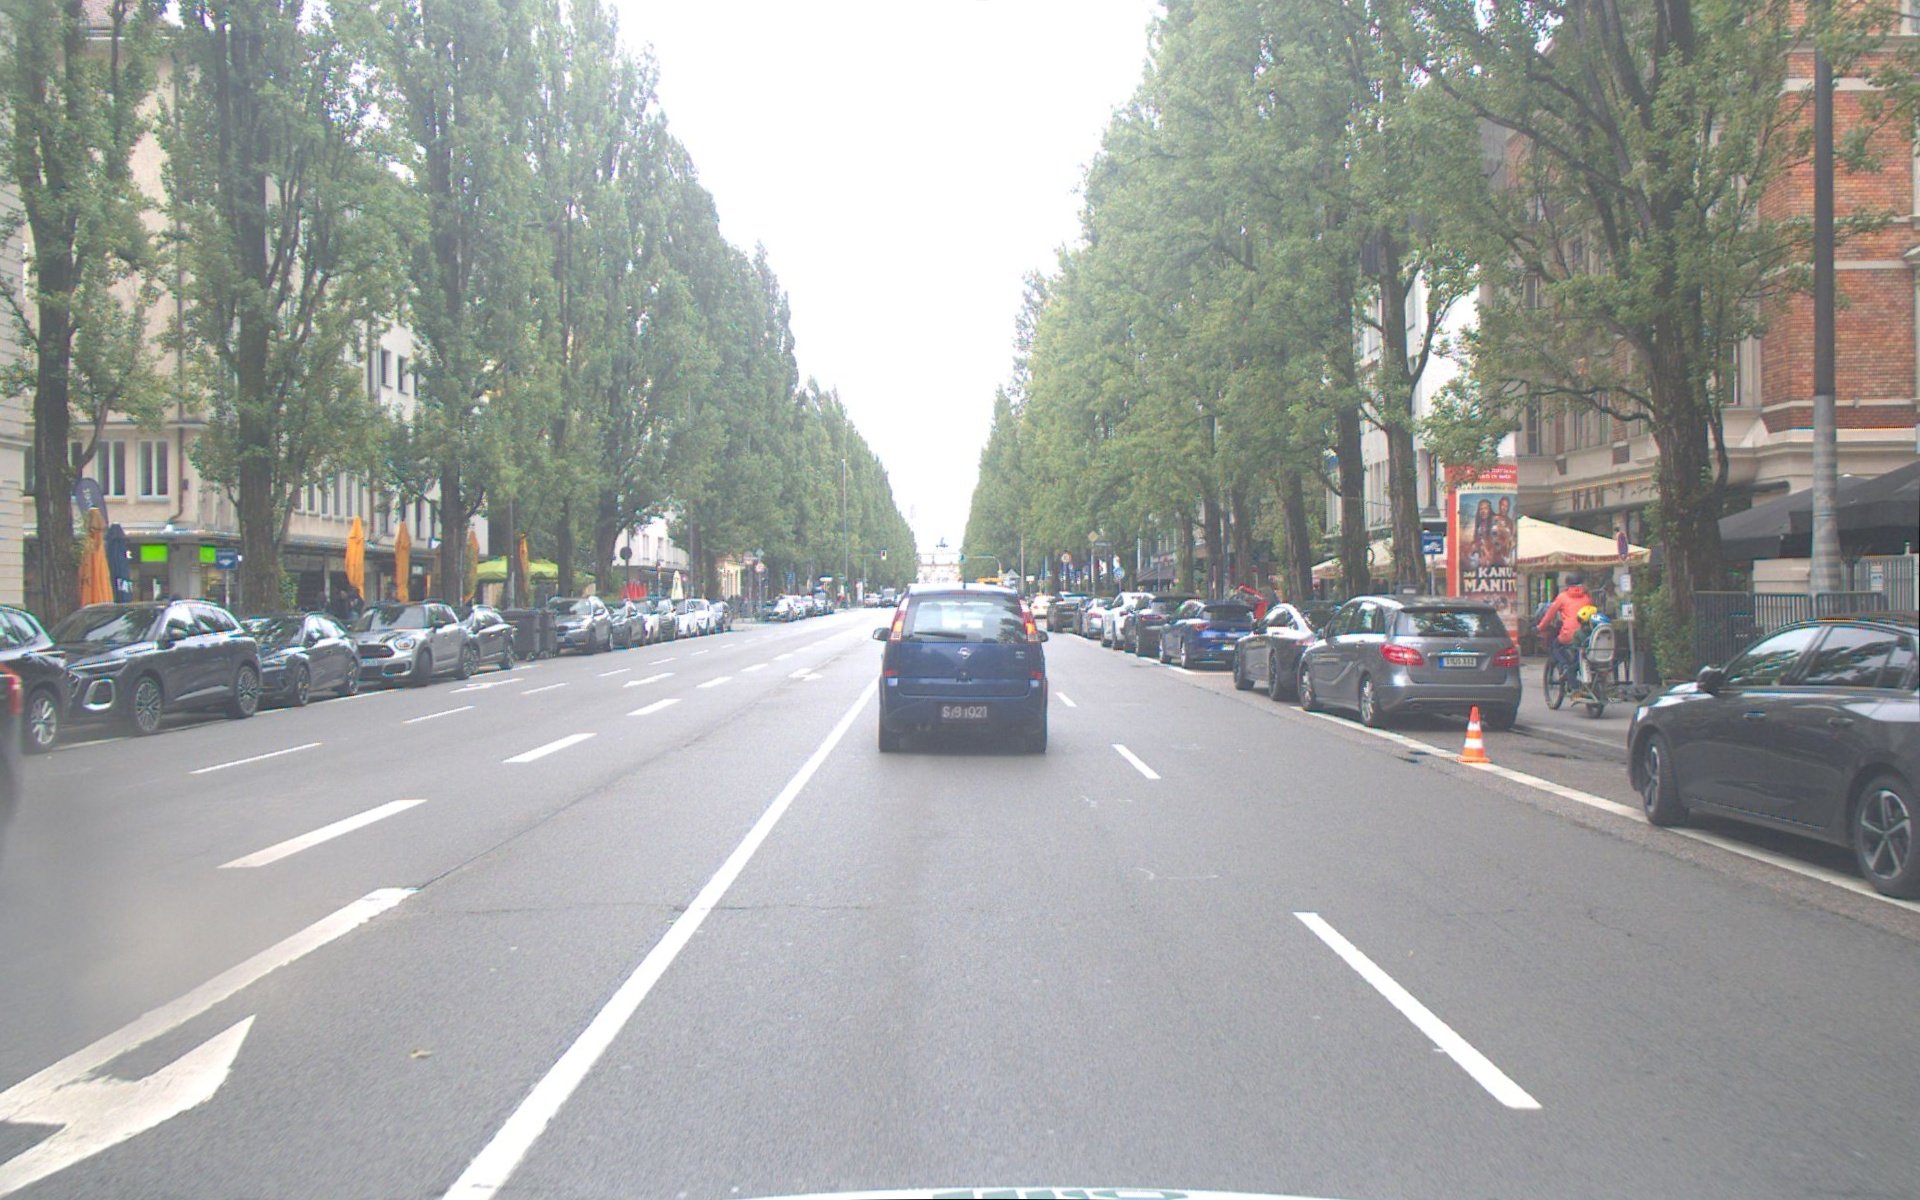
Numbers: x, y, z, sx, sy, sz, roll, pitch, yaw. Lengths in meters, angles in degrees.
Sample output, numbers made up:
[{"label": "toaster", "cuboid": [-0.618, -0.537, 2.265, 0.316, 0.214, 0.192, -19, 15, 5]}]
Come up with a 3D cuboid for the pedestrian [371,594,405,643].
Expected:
[{"label": "pedestrian", "cuboid": [-20.976, 0.656, 60.646, 0.834, 1.775, 1.148, -1, 0, 0]}]

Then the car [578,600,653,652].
[{"label": "car", "cuboid": [-11.148, 0.804, 53.775, 1.663, 1.577, 4.081, -1, 0, -2]}]

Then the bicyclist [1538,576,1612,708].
[{"label": "bicyclist", "cuboid": [7.697, 0.512, 20.719, 0.609, 1.616, 0.753, -1, 0, -1]}]

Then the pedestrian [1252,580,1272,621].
[{"label": "pedestrian", "cuboid": [12.508, 0.017, 68.411, 0.640, 1.655, 0.704, -1, 0, -3]}]

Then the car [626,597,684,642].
[{"label": "car", "cuboid": [-11.482, 0.696, 62.430, 1.805, 1.592, 4.174, -1, 0, -6]}]

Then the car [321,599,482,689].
[{"label": "car", "cuboid": [-10.673, 0.789, 31.907, 1.746, 1.603, 4.132, -1, 0, -1]}]

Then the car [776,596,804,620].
[{"label": "car", "cuboid": [-11.733, 0.528, 114.271, 1.620, 1.589, 3.457, -1, 0, -1]}]

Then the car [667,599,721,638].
[{"label": "car", "cuboid": [-11.359, 0.775, 70.901, 1.798, 1.573, 4.084, -1, 0, -3]}]

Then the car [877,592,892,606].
[{"label": "car", "cuboid": [-9.874, -0.178, 216.751, 1.798, 1.769, 3.778, -1, 0, -1]}]

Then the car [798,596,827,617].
[{"label": "car", "cuboid": [-11.255, 0.477, 126.490, 1.922, 1.557, 3.998, -1, 0, -2]}]

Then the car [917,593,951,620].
[{"label": "car", "cuboid": [-1.551, 0.388, 97.104, 1.953, 1.524, 3.999, -1, 0, -2]}]

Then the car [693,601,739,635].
[{"label": "car", "cuboid": [-11.221, 0.804, 76.207, 1.553, 1.472, 3.391, -1, 0, 2]}]

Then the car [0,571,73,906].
[{"label": "car", "cuboid": [-5.678, 0.729, 6.627, 1.896, 1.651, 4.335, -2, 0, -1]}]

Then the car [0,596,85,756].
[{"label": "car", "cuboid": [-10.808, 0.799, 16.412, 1.783, 1.646, 4.715, -1, 0, -1]}]

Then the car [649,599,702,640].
[{"label": "car", "cuboid": [-11.462, 0.760, 66.760, 1.540, 1.561, 2.923, -1, 0, 2]}]

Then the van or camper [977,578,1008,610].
[{"label": "van or camper", "cuboid": [2.716, -0.507, 140.740, 2.426, 2.626, 5.844, -1, 0, 0]}]

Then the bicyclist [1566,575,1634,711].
[{"label": "bicyclist", "cuboid": [7.715, 0.511, 19.940, 0.609, 1.616, 0.481, -1, 0, -1]}]

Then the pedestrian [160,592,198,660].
[{"label": "pedestrian", "cuboid": [-20.594, 0.682, 43.632, 0.612, 1.752, 0.826, -1, 0, -2]}]

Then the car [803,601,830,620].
[{"label": "car", "cuboid": [-11.450, 0.812, 132.152, 1.922, 1.424, 3.778, -1, 0, -1]}]

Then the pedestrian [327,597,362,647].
[{"label": "pedestrian", "cuboid": [-22.224, 0.783, 59.727, 0.834, 1.775, 1.148, -1, 0, 0]}]

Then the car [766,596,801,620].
[{"label": "car", "cuboid": [-10.996, 0.496, 103.266, 1.793, 1.445, 3.810, 0, 0, -1]}]

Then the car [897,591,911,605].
[{"label": "car", "cuboid": [-7.283, -0.246, 214.767, 1.798, 1.706, 3.778, -1, 0, -1]}]

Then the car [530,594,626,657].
[{"label": "car", "cuboid": [-11.293, 0.718, 49.134, 1.827, 1.683, 4.614, -3, 0, -2]}]

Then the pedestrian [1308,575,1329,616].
[{"label": "pedestrian", "cuboid": [14.649, -0.187, 67.595, 0.640, 1.655, 0.704, -1, 0, -3]}]

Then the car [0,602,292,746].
[{"label": "car", "cuboid": [-10.723, 0.878, 21.820, 1.766, 1.622, 4.632, -2, 0, 2]}]

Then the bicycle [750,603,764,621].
[{"label": "bicycle", "cuboid": [-12.007, 0.683, 97.796, 0.652, 1.023, 2.460, -1, 0, -4]}]

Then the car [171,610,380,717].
[{"label": "car", "cuboid": [-10.935, 0.953, 26.803, 1.651, 1.449, 4.684, -3, 0, -4]}]

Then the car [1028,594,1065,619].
[{"label": "car", "cuboid": [4.959, 0.371, 95.389, 1.858, 1.386, 3.899, -1, 0, 0]}]

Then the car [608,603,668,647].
[{"label": "car", "cuboid": [-11.348, 0.861, 58.441, 1.598, 1.453, 2.982, -1, 0, -2]}]

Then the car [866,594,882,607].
[{"label": "car", "cuboid": [-11.589, 0.059, 223.274, 1.922, 1.576, 3.778, -1, 0, -1]}]

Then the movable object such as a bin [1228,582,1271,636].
[{"label": "movable object such as a bin", "cuboid": [9.527, 0.296, 54.511, 1.012, 1.733, 1.585, -1, 0, -4]}]

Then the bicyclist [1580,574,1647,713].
[{"label": "bicyclist", "cuboid": [7.721, 0.510, 19.538, 0.609, 1.616, 0.391, -1, 0, -2]}]

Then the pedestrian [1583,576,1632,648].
[{"label": "pedestrian", "cuboid": [15.029, 0.266, 38.418, 0.714, 1.637, 0.991, -1, 0, 0]}]

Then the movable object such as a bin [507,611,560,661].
[{"label": "movable object such as a bin", "cuboid": [-11.672, 0.978, 45.327, 1.234, 1.340, 0.825, -1, 0, -2]}]

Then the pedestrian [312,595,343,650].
[{"label": "pedestrian", "cuboid": [-20.488, 0.733, 53.584, 0.612, 1.752, 0.827, -1, 0, 2]}]

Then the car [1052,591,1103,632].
[{"label": "car", "cuboid": [4.806, 0.443, 68.311, 1.761, 1.621, 4.104, 1, 0, 0]}]

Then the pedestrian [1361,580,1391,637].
[{"label": "pedestrian", "cuboid": [13.614, 0.263, 54.169, 0.714, 1.834, 0.931, -1, 0, 0]}]

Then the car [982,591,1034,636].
[{"label": "car", "cuboid": [1.719, 0.468, 60.496, 1.672, 1.601, 3.999, -1, 0, -2]}]

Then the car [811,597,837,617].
[{"label": "car", "cuboid": [-11.761, 0.575, 142.989, 1.953, 1.691, 3.999, -1, 0, -1]}]

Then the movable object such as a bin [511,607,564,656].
[{"label": "movable object such as a bin", "cuboid": [-11.830, 0.872, 46.310, 1.287, 1.340, 0.819, -1, 0, -2]}]

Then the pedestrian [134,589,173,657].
[{"label": "pedestrian", "cuboid": [-21.239, 0.604, 43.585, 0.612, 1.752, 0.826, -1, 0, -2]}]

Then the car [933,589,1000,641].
[{"label": "car", "cuboid": [0.160, 0.445, 51.274, 1.953, 1.523, 3.999, -1, 0, -2]}]

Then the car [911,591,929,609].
[{"label": "car", "cuboid": [-4.076, -0.035, 170.172, 1.798, 1.792, 3.778, -1, 0, -1]}]

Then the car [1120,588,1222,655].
[{"label": "car", "cuboid": [5.395, 0.515, 42.801, 1.953, 1.592, 4.482, -1, 0, -1]}]

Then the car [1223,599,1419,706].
[{"label": "car", "cuboid": [5.448, 0.729, 25.621, 1.840, 1.457, 4.803, -1, 0, -2]}]

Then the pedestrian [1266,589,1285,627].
[{"label": "pedestrian", "cuboid": [14.873, 0.375, 77.930, 0.712, 1.781, 0.859, 1, 0, 0]}]

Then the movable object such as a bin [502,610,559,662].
[{"label": "movable object such as a bin", "cuboid": [-11.256, 0.946, 43.367, 1.251, 1.333, 0.901, 0, 0, -1]}]

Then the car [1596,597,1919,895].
[{"label": "car", "cuboid": [5.552, 0.743, 9.838, 1.685, 1.467, 4.351, 1, 0, -3]}]

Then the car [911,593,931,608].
[{"label": "car", "cuboid": [-3.868, 0.069, 163.099, 1.922, 1.424, 3.778, -1, 0, -1]}]

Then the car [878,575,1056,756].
[{"label": "car", "cuboid": [0.017, 0.592, 17.318, 1.647, 1.670, 3.999, 0, 0, -2]}]

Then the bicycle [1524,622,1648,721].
[{"label": "bicycle", "cuboid": [7.709, 0.849, 20.473, 0.614, 1.106, 2.263, -1, 0, -1]}]

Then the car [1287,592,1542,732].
[{"label": "car", "cuboid": [5.545, 0.691, 20.766, 1.781, 1.532, 4.229, -1, 0, -4]}]

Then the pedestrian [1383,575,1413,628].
[{"label": "pedestrian", "cuboid": [14.346, 0.049, 54.159, 0.714, 1.706, 0.931, -1, 0, 0]}]

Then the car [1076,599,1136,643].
[{"label": "car", "cuboid": [5.144, 0.717, 58.557, 1.636, 1.431, 4.126, 1, 0, -1]}]

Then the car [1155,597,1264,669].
[{"label": "car", "cuboid": [5.370, 0.673, 36.111, 1.714, 1.430, 4.464, -1, 0, 0]}]

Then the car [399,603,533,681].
[{"label": "car", "cuboid": [-11.052, 0.896, 37.262, 1.629, 1.530, 4.313, -3, 0, 0]}]

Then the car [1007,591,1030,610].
[{"label": "car", "cuboid": [4.555, 0.029, 130.085, 1.635, 1.376, 4.104, -1, 0, 0]}]

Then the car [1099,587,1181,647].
[{"label": "car", "cuboid": [5.189, 0.464, 48.224, 1.790, 1.649, 4.746, 0, 0, -1]}]
